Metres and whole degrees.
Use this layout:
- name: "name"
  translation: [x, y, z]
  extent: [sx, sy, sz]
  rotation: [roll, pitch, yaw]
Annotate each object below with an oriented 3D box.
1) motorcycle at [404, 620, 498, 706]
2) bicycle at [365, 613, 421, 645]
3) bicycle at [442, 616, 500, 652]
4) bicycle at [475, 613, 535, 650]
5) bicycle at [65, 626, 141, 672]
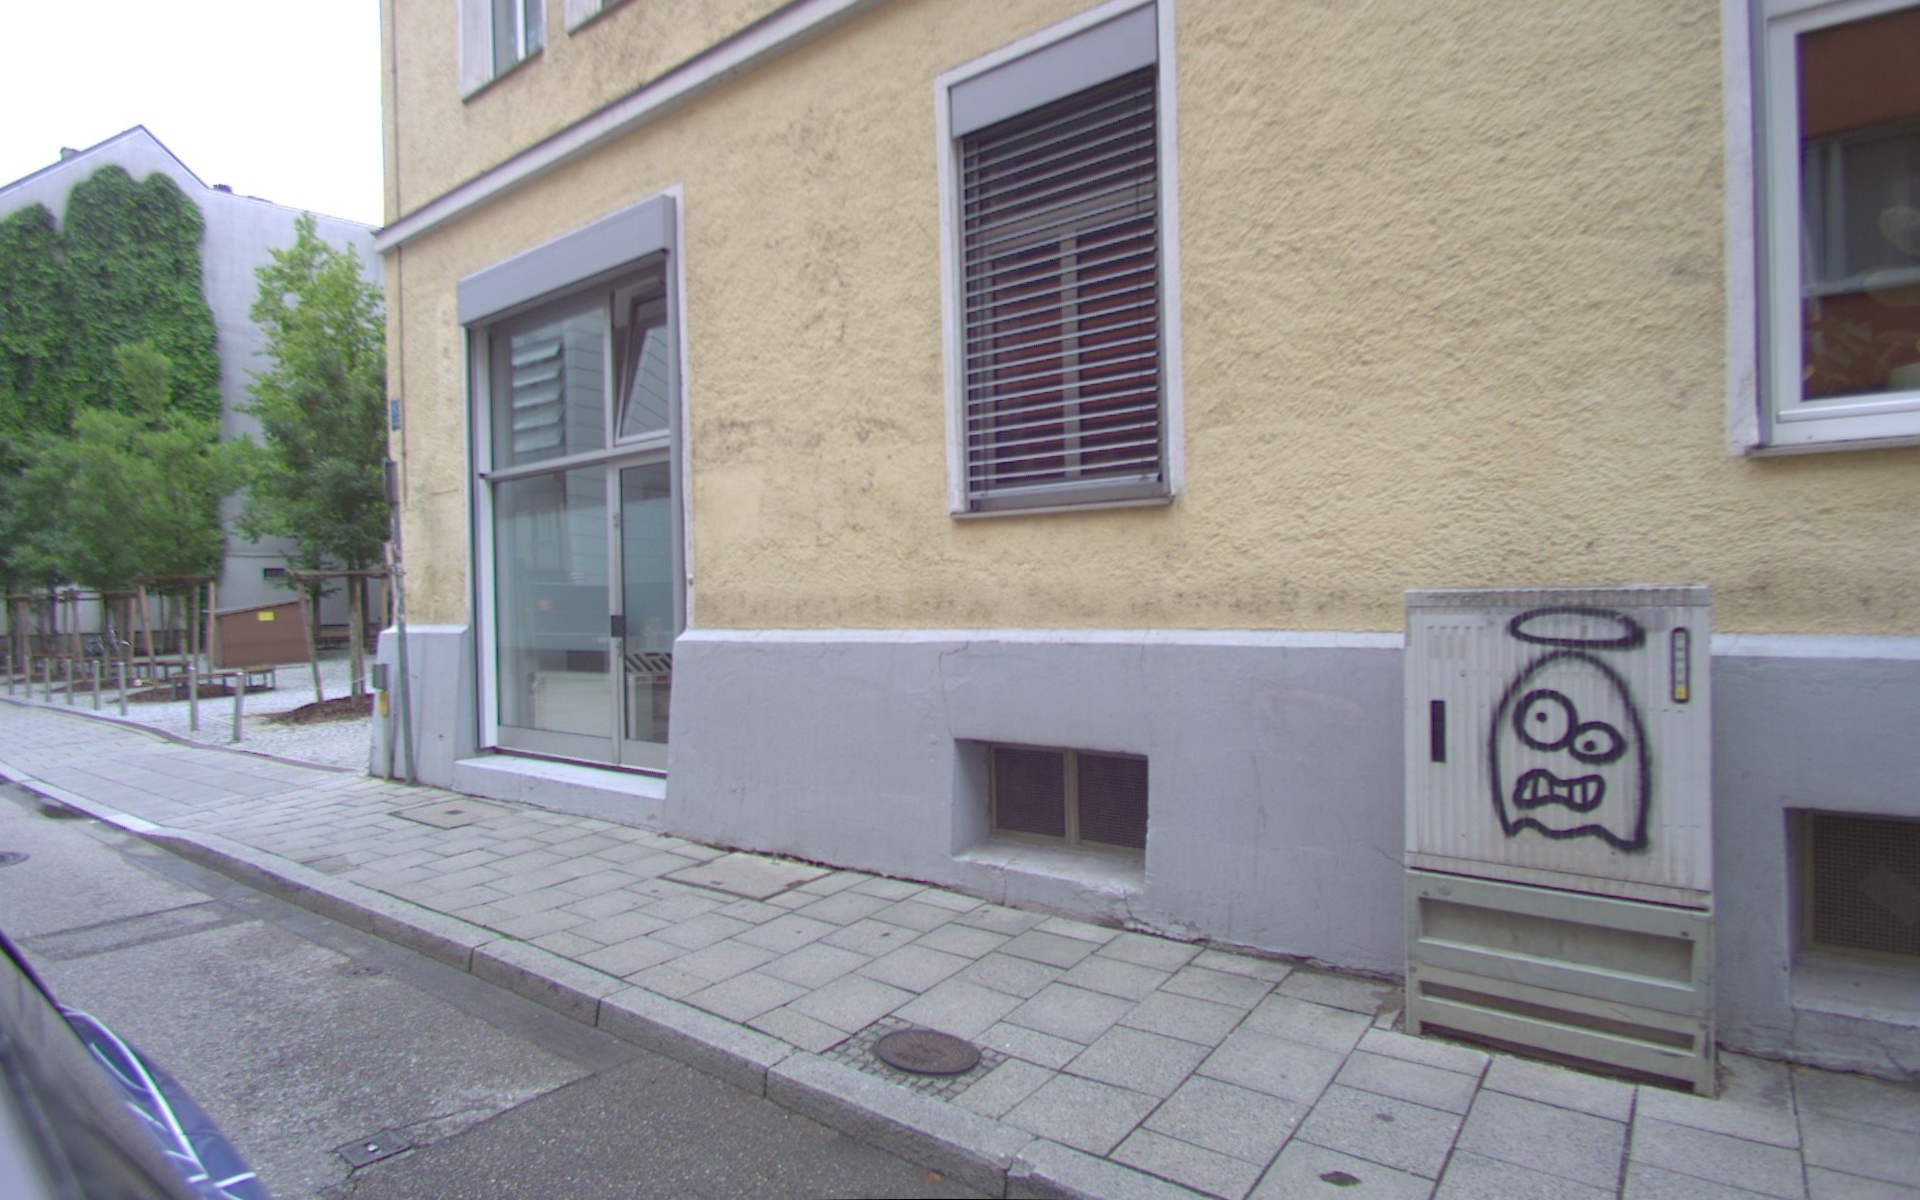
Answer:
- name: "motorcycle"
  translation: [-7.648, 0.911, 15.163]
  extent: [1.981, 1.181, 0.570]
  rotation: [-1, 1, 43]
- name: "bicycle"
  translation: [-21.274, 1.082, 38.004]
  extent: [0.603, 1.151, 1.702]
  rotation: [-1, 0, 43]
- name: "bicycle"
  translation: [-15.908, 1.098, 32.919]
  extent: [0.628, 1.068, 1.555]
  rotation: [-2, 0, 41]
- name: "bicycle"
  translation: [-14.124, 0.963, 31.463]
  extent: [0.628, 1.068, 1.555]
  rotation: [-2, 0, 41]
- name: "bicycle"
  translation: [-24.126, 1.376, 28.478]
  extent: [1.983, 1.217, 0.709]
  rotation: [-1, 1, 20]
